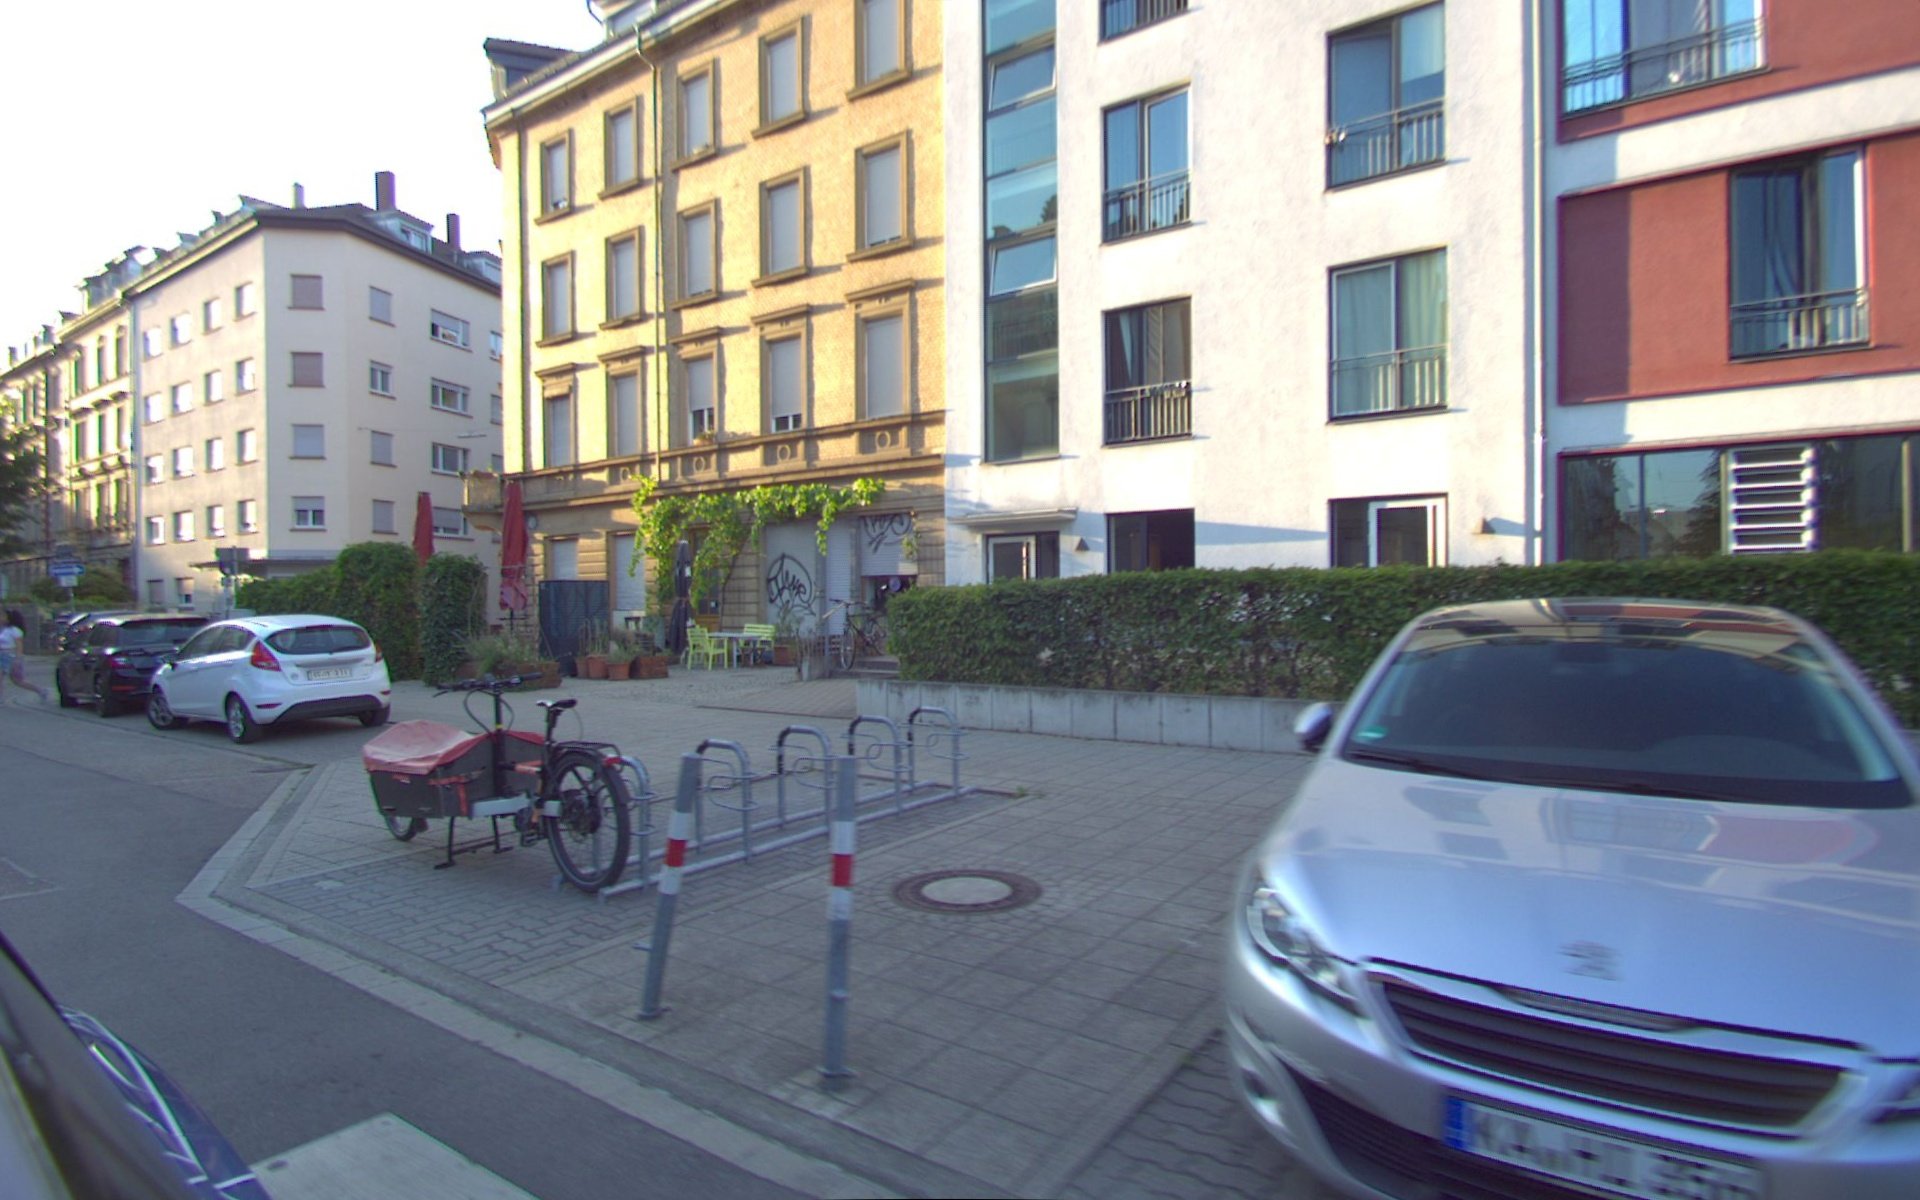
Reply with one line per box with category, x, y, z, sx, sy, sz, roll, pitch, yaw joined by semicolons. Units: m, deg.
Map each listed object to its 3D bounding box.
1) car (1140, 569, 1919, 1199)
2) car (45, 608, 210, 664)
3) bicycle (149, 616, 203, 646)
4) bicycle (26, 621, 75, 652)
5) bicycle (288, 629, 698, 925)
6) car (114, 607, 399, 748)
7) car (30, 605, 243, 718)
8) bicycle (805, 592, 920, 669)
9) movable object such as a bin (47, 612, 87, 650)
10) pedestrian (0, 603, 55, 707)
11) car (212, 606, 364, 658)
car;2.408;0.649;3.670;1.875;1.471;4.580;-1;1;32
car;-24.924;1.044;30.391;1.840;1.519;3.477;-2;-1;35
bicycle;-30.744;1.213;39.704;0.499;1.100;1.620;-1;1;29
bicycle;-31.800;1.281;35.383;1.924;1.033;0.682;-1;1;30
bicycle;-2.699;0.808;5.613;2.861;1.230;0.800;-1;1;37
car;-9.140;0.883;13.063;4.005;1.542;1.638;-1;0;33
car;-13.030;0.879;15.956;3.836;1.546;1.688;-1;0;36
bicycle;-1.569;0.462;16.602;0.810;1.150;1.898;-1;1;36
movable object such as a bin;-33.485;1.140;37.944;1.396;1.362;0.858;-1;1;37
pedestrian;-15.502;0.881;16.548;0.707;1.630;0.781;-1;1;22
car;-22.636;1.039;34.173;4.011;1.520;1.976;-2;1;-42
